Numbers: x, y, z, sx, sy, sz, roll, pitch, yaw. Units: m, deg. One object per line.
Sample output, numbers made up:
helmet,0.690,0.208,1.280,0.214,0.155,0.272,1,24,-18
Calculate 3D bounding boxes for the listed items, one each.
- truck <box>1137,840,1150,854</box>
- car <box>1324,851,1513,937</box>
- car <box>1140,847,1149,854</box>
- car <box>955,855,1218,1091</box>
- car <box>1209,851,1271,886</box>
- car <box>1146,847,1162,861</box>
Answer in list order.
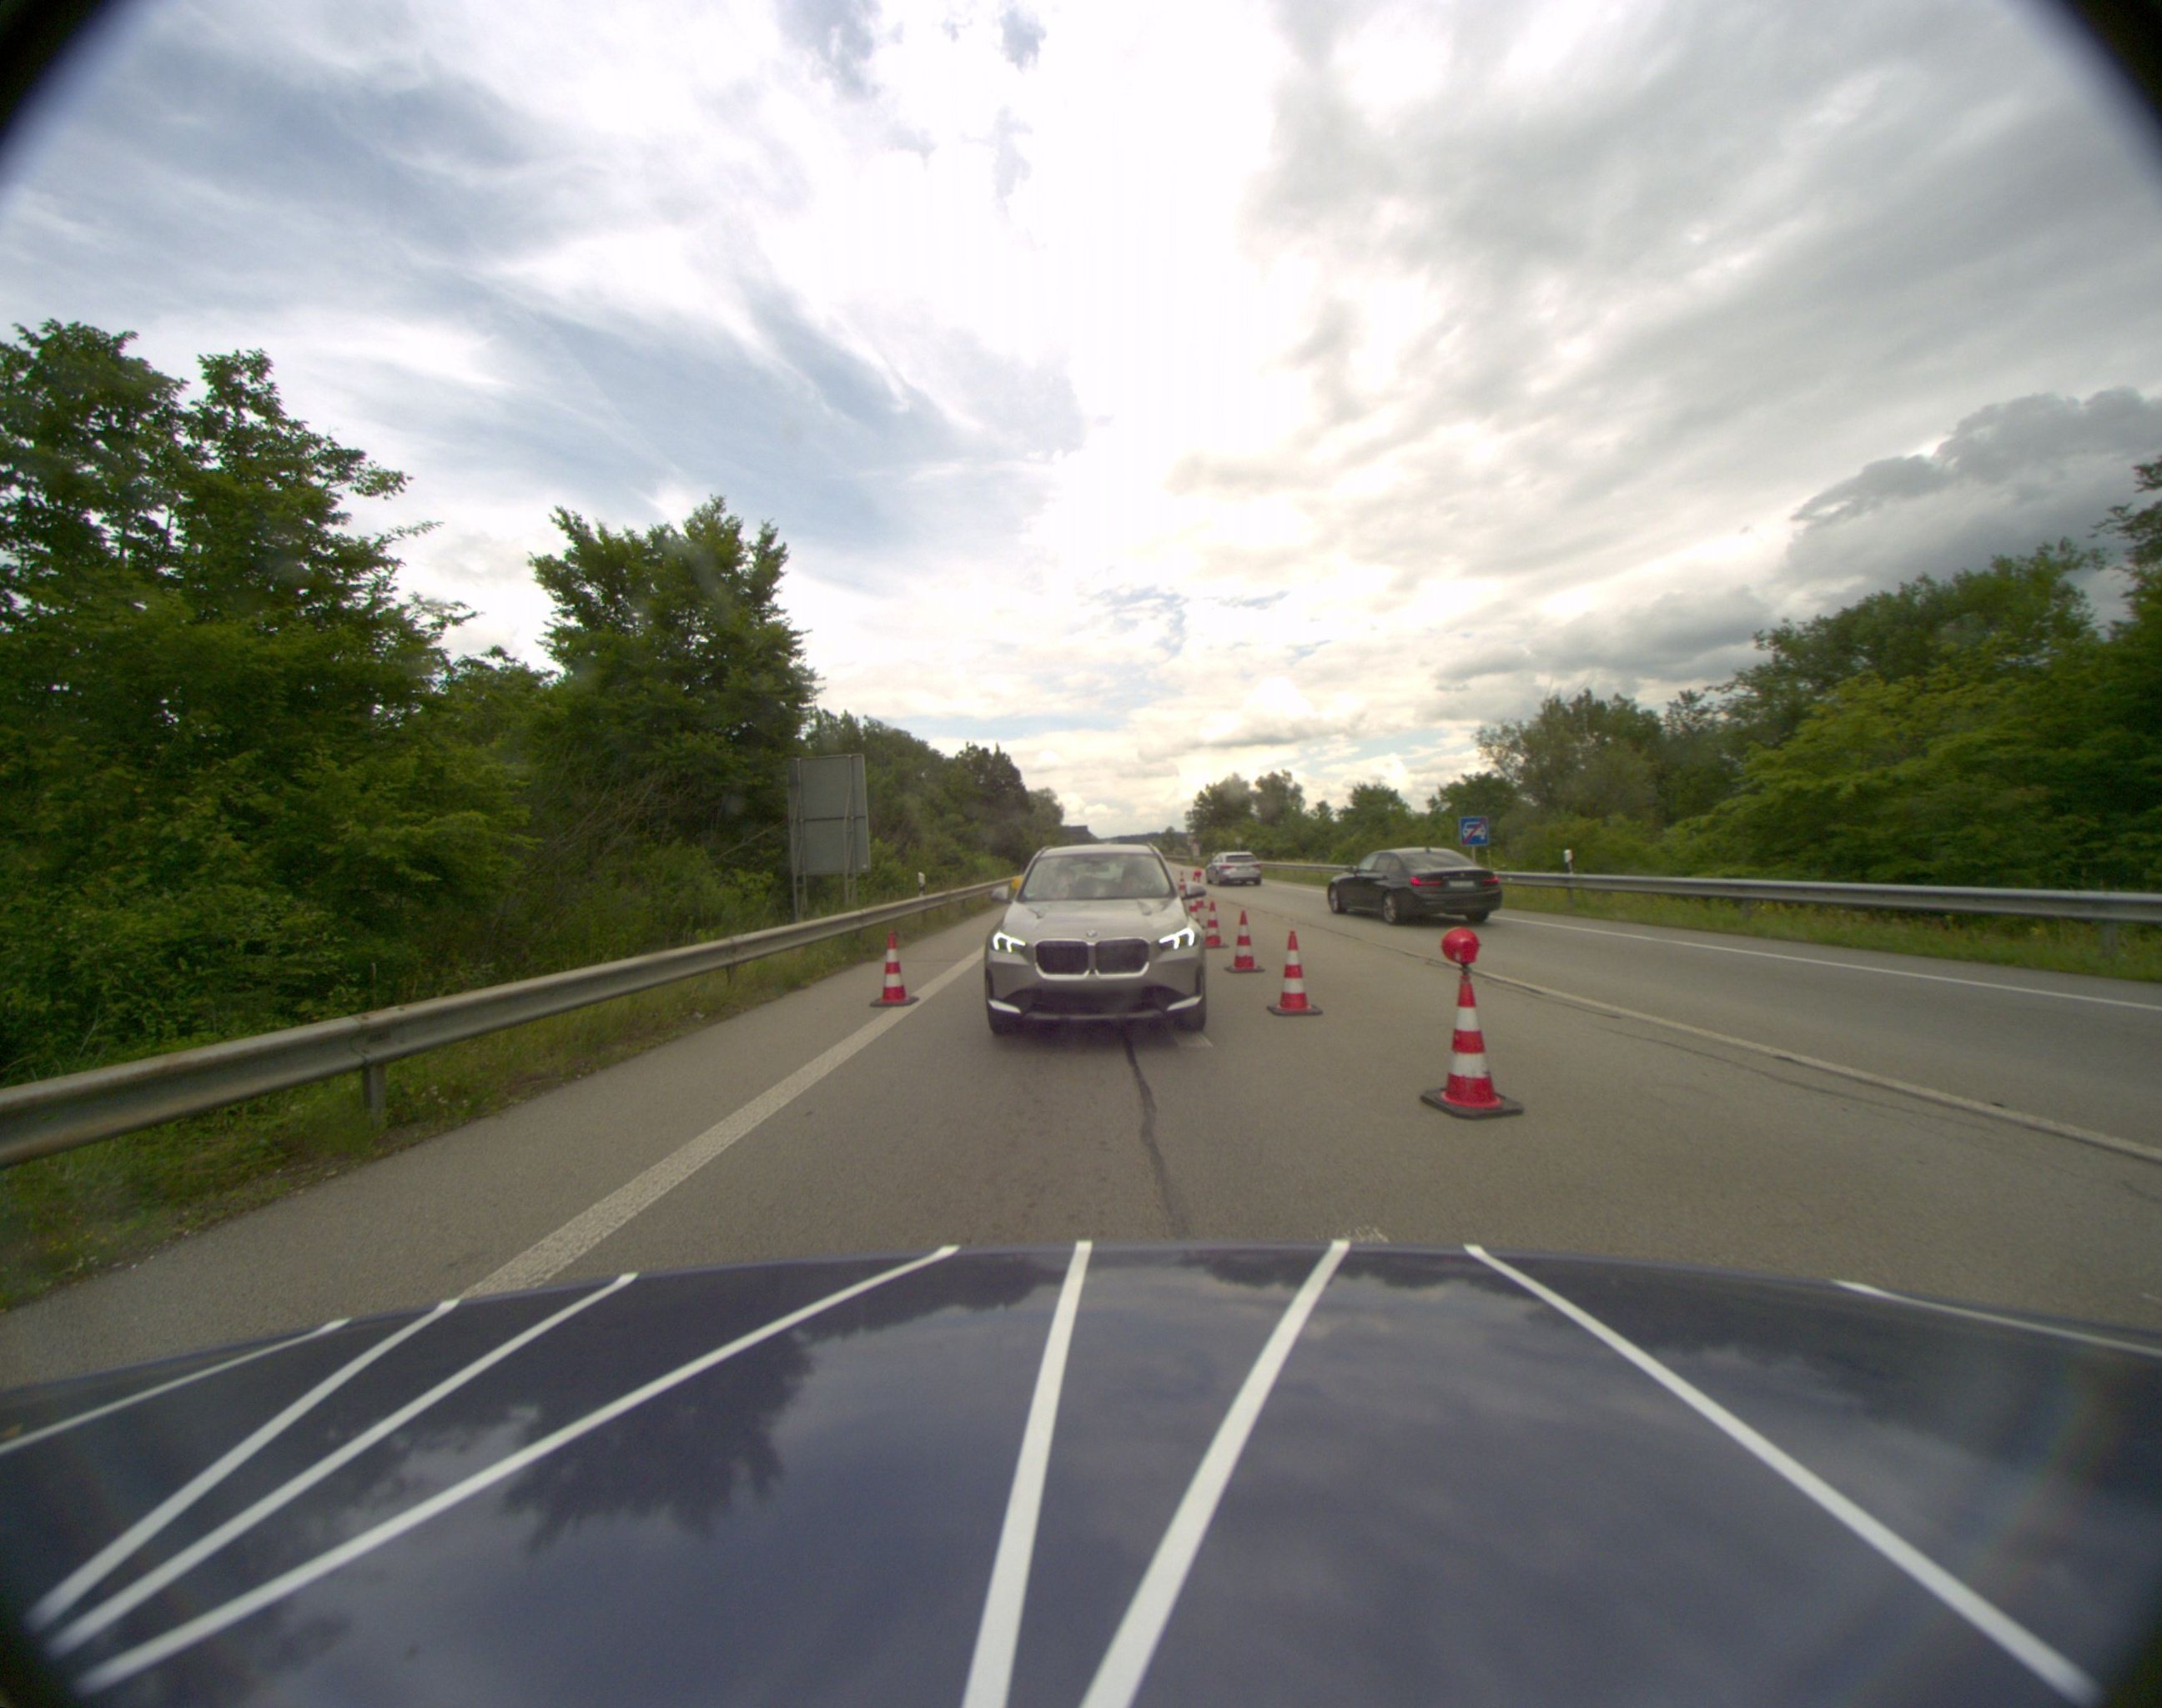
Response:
truck,17.774,-2.027,217.148,3.113,3.682,9.544,-2,0,3
car,6.557,0.680,15.349,1.713,1.428,4.335,-2,0,-2
car,15.346,-0.755,184.158,1.929,1.597,4.533,-2,0,3
car,0.158,0.854,7.592,1.817,1.598,4.434,-2,0,3
car,6.826,0.580,33.037,1.683,1.393,4.373,-2,0,-1
car,10.592,0.029,111.123,2.034,1.976,5.316,-2,0,3
